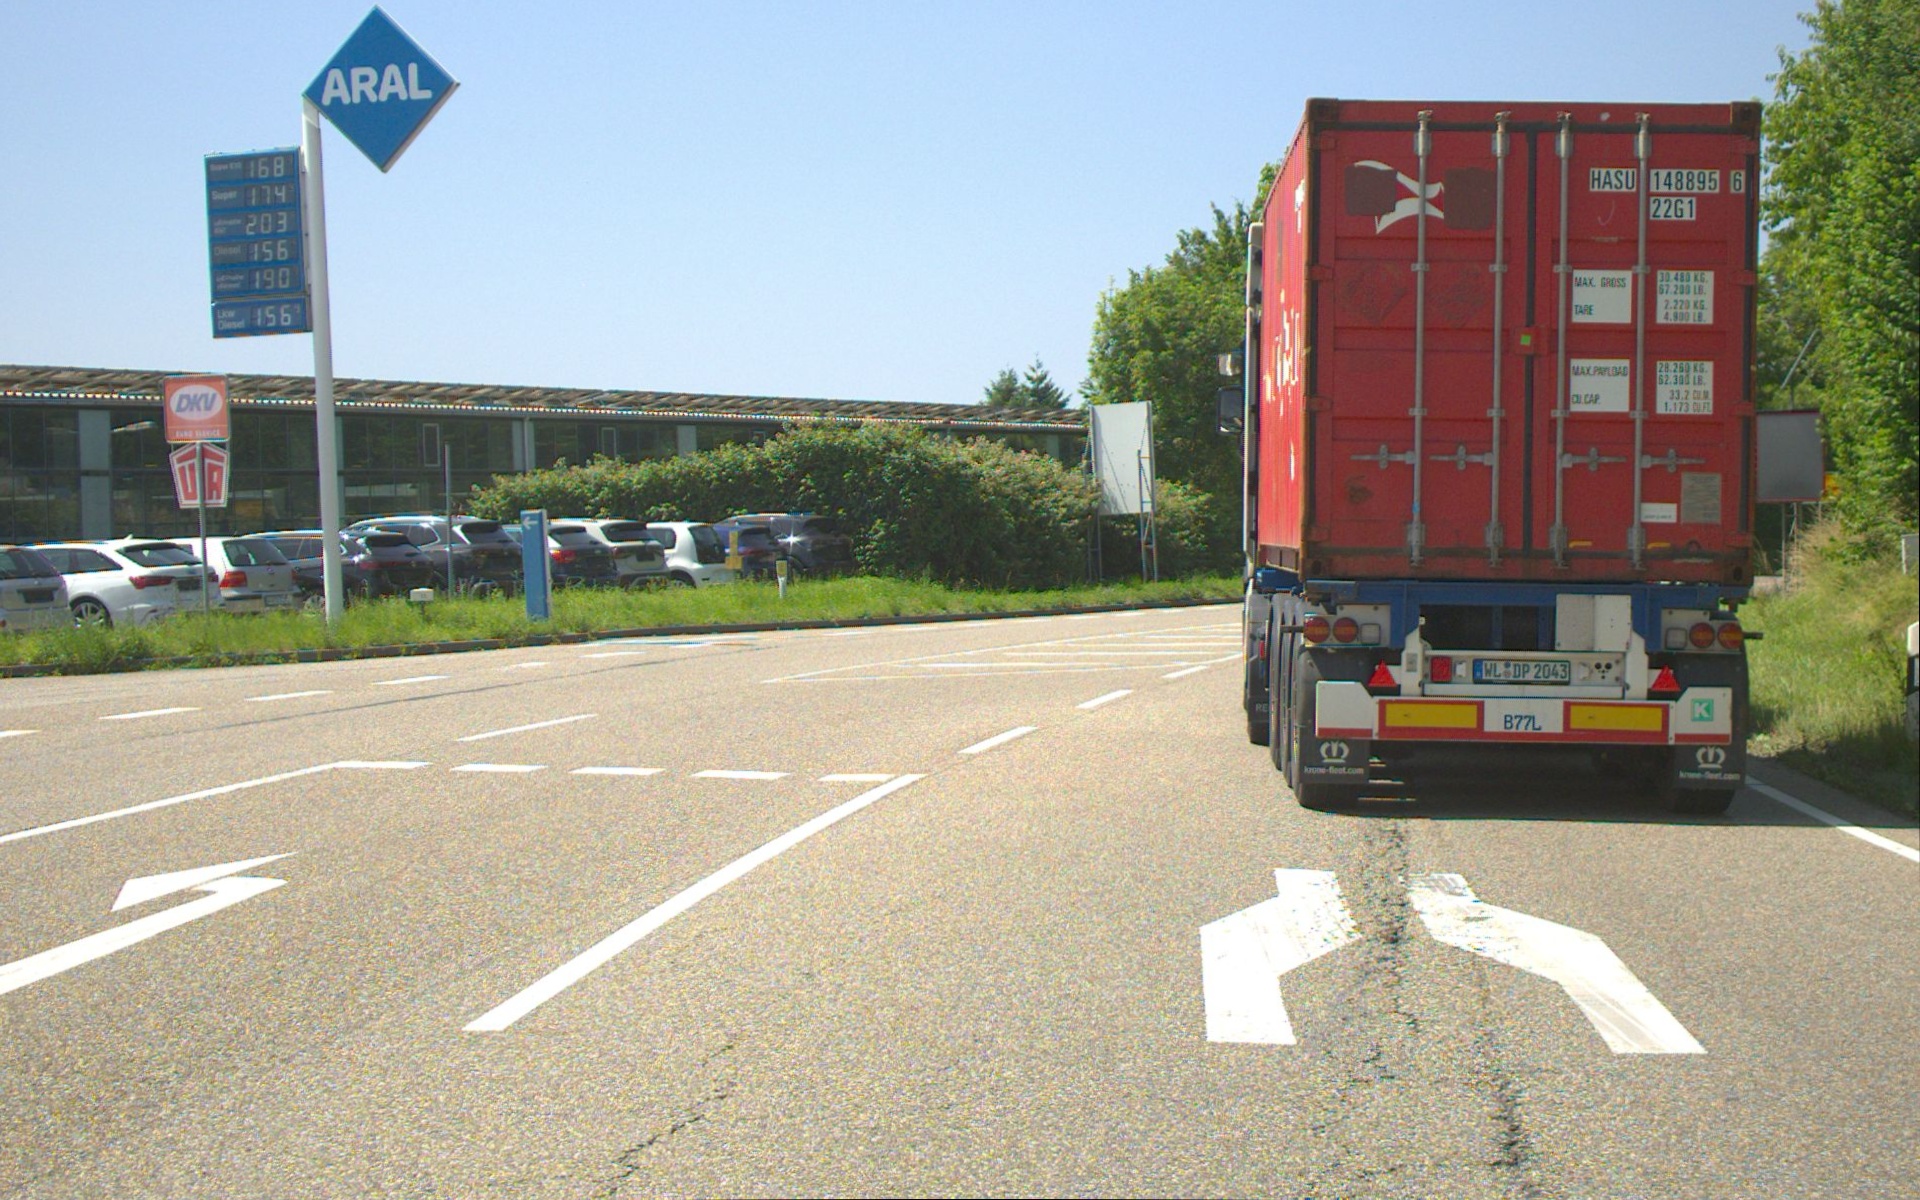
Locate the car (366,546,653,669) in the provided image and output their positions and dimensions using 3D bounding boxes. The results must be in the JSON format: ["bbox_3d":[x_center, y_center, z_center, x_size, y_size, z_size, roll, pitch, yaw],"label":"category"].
[{"bbox_3d":[-7.125,0.115,54.365,3.992,1.744,1.997,-2,1,25],"label":"car"}]

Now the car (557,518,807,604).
[{"bbox_3d":[-4.953,-0.697,61.285,3.991,1.358,1.818,-2,1,22],"label":"car"}]

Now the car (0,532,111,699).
[{"bbox_3d":[-12.945,0.196,43.183,3.992,2.007,1.998,-1,1,24],"label":"car"}]

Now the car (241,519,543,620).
[{"bbox_3d":[-8.515,-0.453,51.545,3.992,1.327,1.997,-2,1,25],"label":"car"}]

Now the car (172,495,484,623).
[{"bbox_3d":[-9.090,-0.563,49.459,3.992,1.744,1.997,-1,0,25],"label":"car"}]

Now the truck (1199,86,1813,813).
[{"bbox_3d":[3.348,-0.897,24.870,2.648,3.793,13.359,1,1,2],"label":"truck"}]

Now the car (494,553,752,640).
[{"bbox_3d":[-5.804,-0.059,59.306,3.991,1.313,1.831,-2,1,23],"label":"car"}]

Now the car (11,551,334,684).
[{"bbox_3d":[-10.901,0.243,47.602,3.992,1.744,1.932,-1,1,25],"label":"car"}]

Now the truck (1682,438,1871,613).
[{"bbox_3d":[19.242,-1.745,80.344,2.924,3.704,13.347,-1,1,19],"label":"truck"}]

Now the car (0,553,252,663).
[{"bbox_3d":[-11.678,0.115,45.172,4.242,1.354,1.998,-1,1,24],"label":"car"}]

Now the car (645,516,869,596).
[{"bbox_3d":[-3.746,-0.817,63.492,3.701,1.368,1.801,2,1,26],"label":"car"}]

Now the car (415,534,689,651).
[{"bbox_3d":[-6.767,-0.129,57.010,3.992,1.744,1.997,-2,1,25],"label":"car"}]
